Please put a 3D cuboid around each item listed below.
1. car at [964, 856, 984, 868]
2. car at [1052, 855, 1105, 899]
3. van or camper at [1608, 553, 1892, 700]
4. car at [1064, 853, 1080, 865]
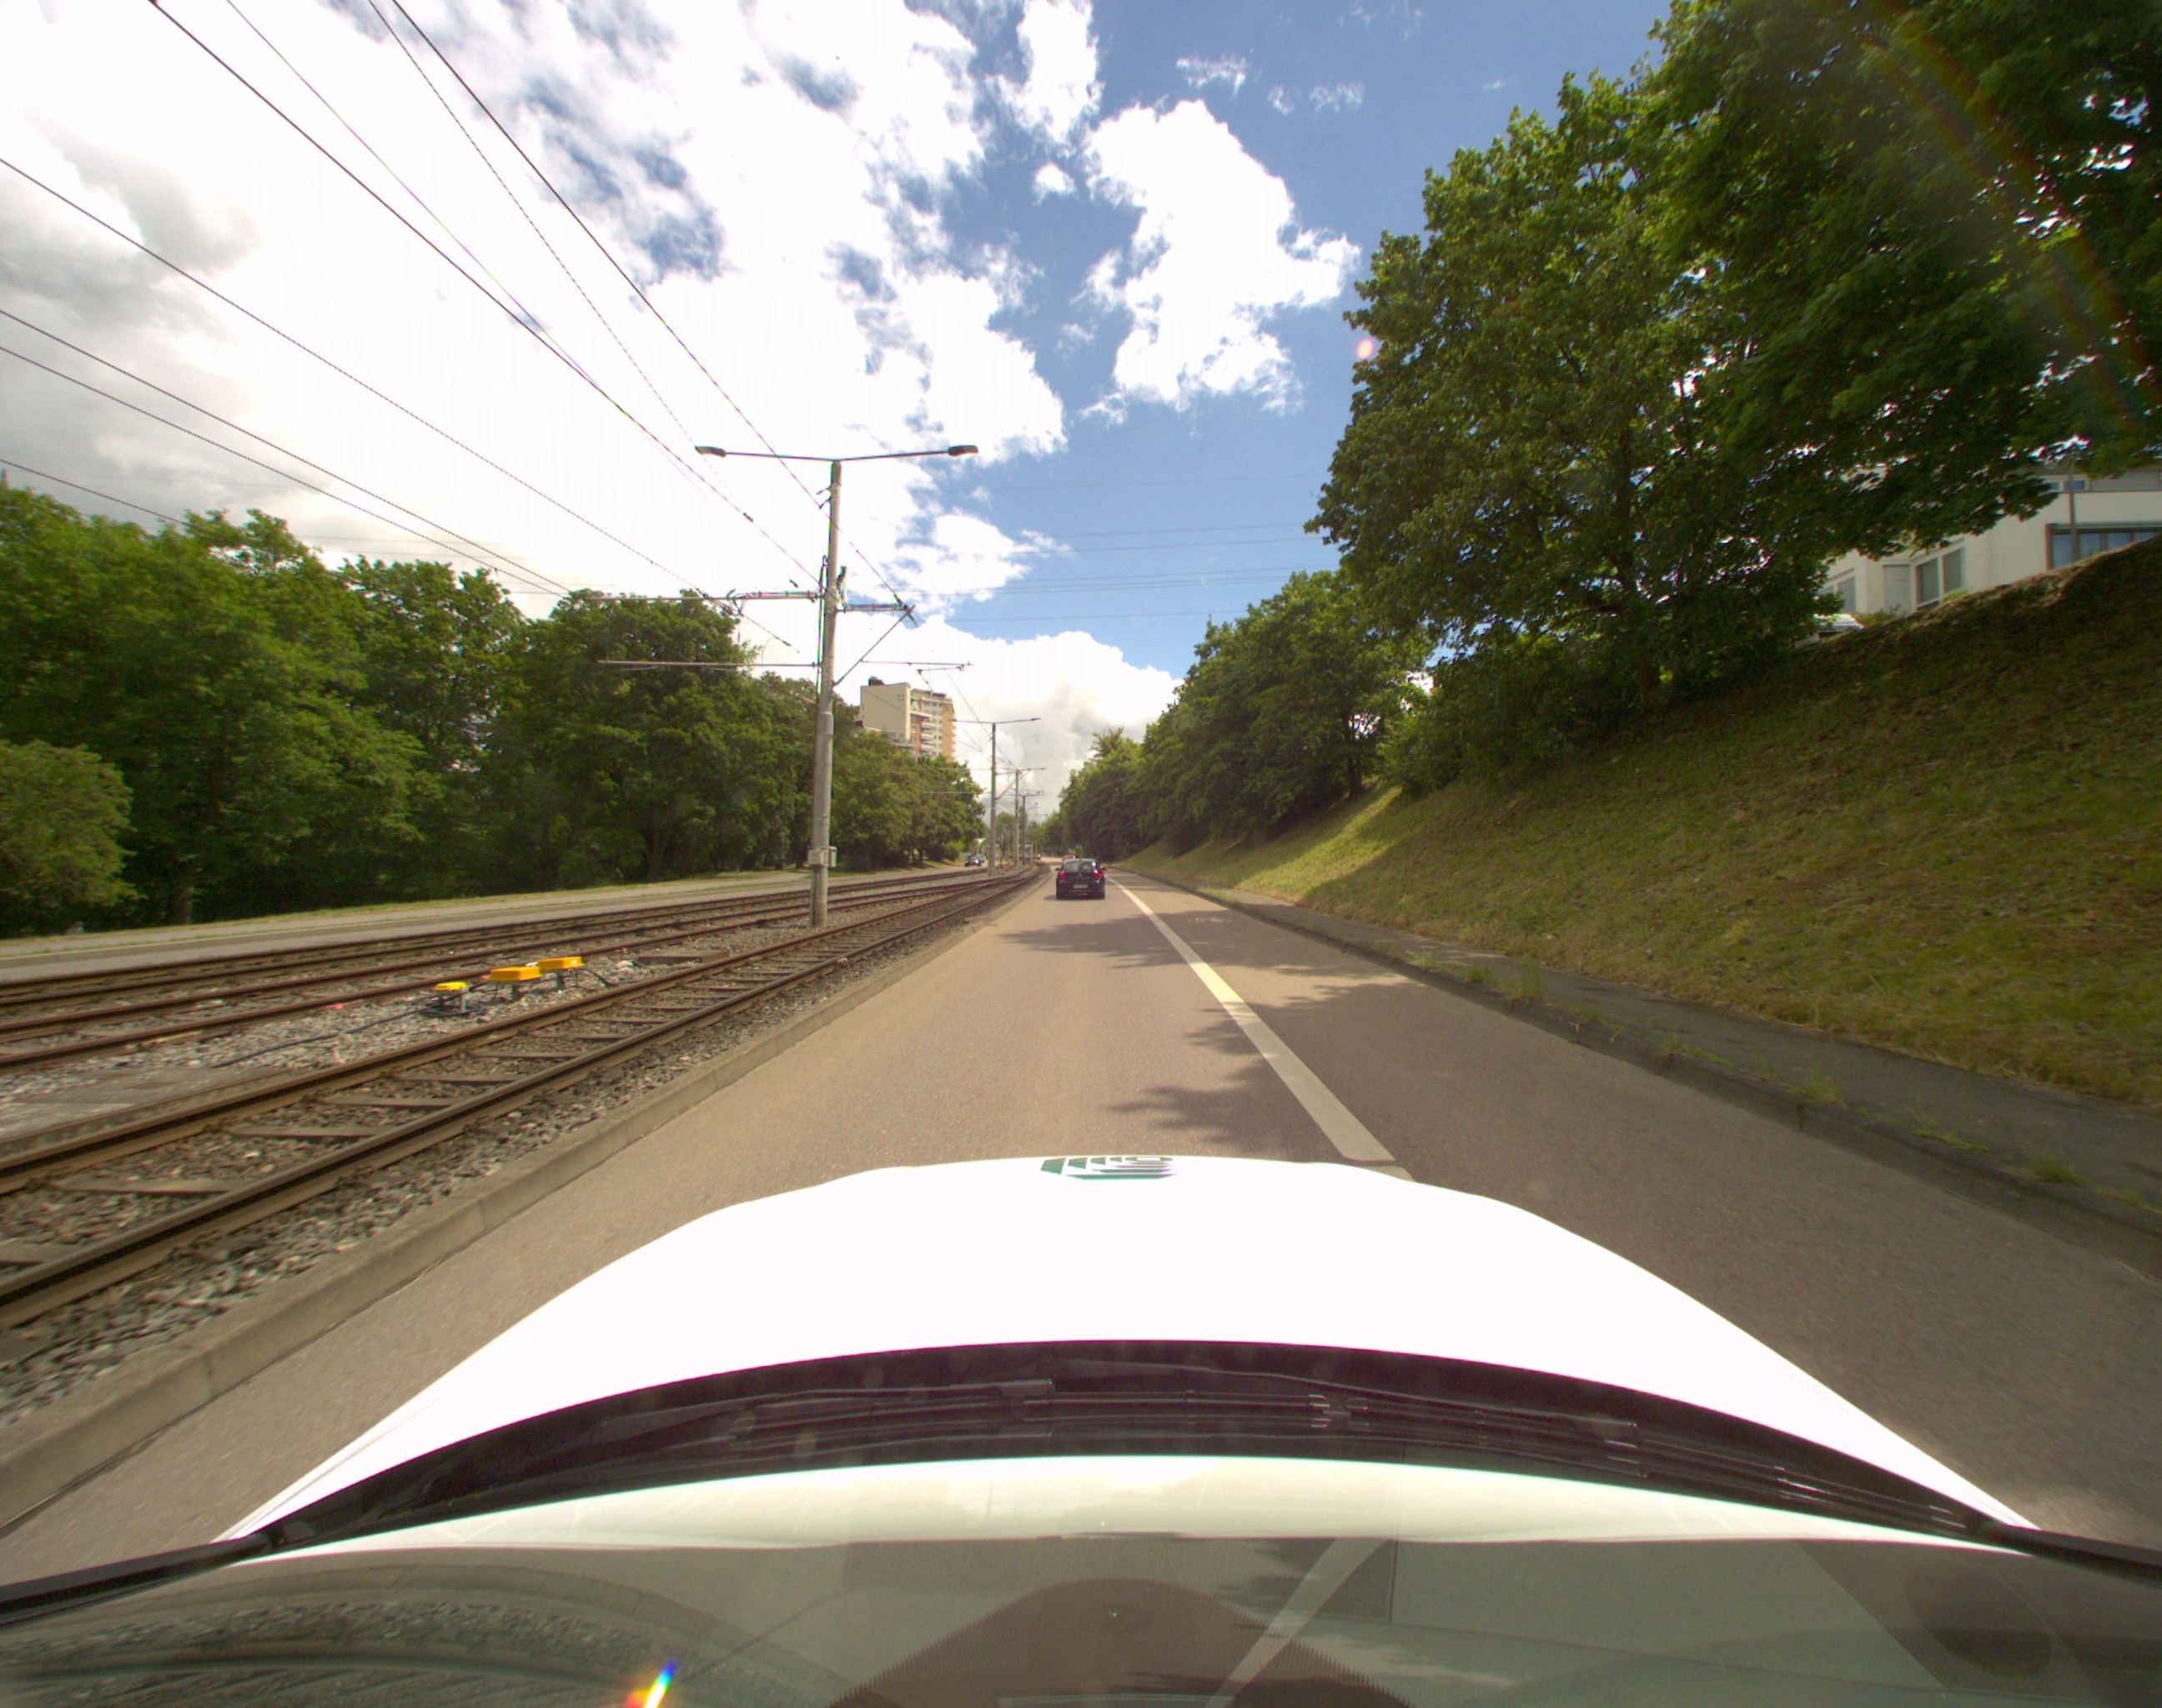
[{"bbox_3d":[-13.694,1.043,104.477,1.829,1.391,4.861,-2,0,0],"label":"car"},{"bbox_3d":[-0.136,0.774,29.552,1.776,1.459,3.918,-1,0,-2],"label":"car"},{"bbox_3d":[16.801,-5.622,21.102,2.210,2.069,6.158,-1,0,-2],"label":"van or camper"},{"bbox_3d":[-1.097,0.598,98.568,1.777,1.459,3.916,0,0,-3],"label":"car"}]
